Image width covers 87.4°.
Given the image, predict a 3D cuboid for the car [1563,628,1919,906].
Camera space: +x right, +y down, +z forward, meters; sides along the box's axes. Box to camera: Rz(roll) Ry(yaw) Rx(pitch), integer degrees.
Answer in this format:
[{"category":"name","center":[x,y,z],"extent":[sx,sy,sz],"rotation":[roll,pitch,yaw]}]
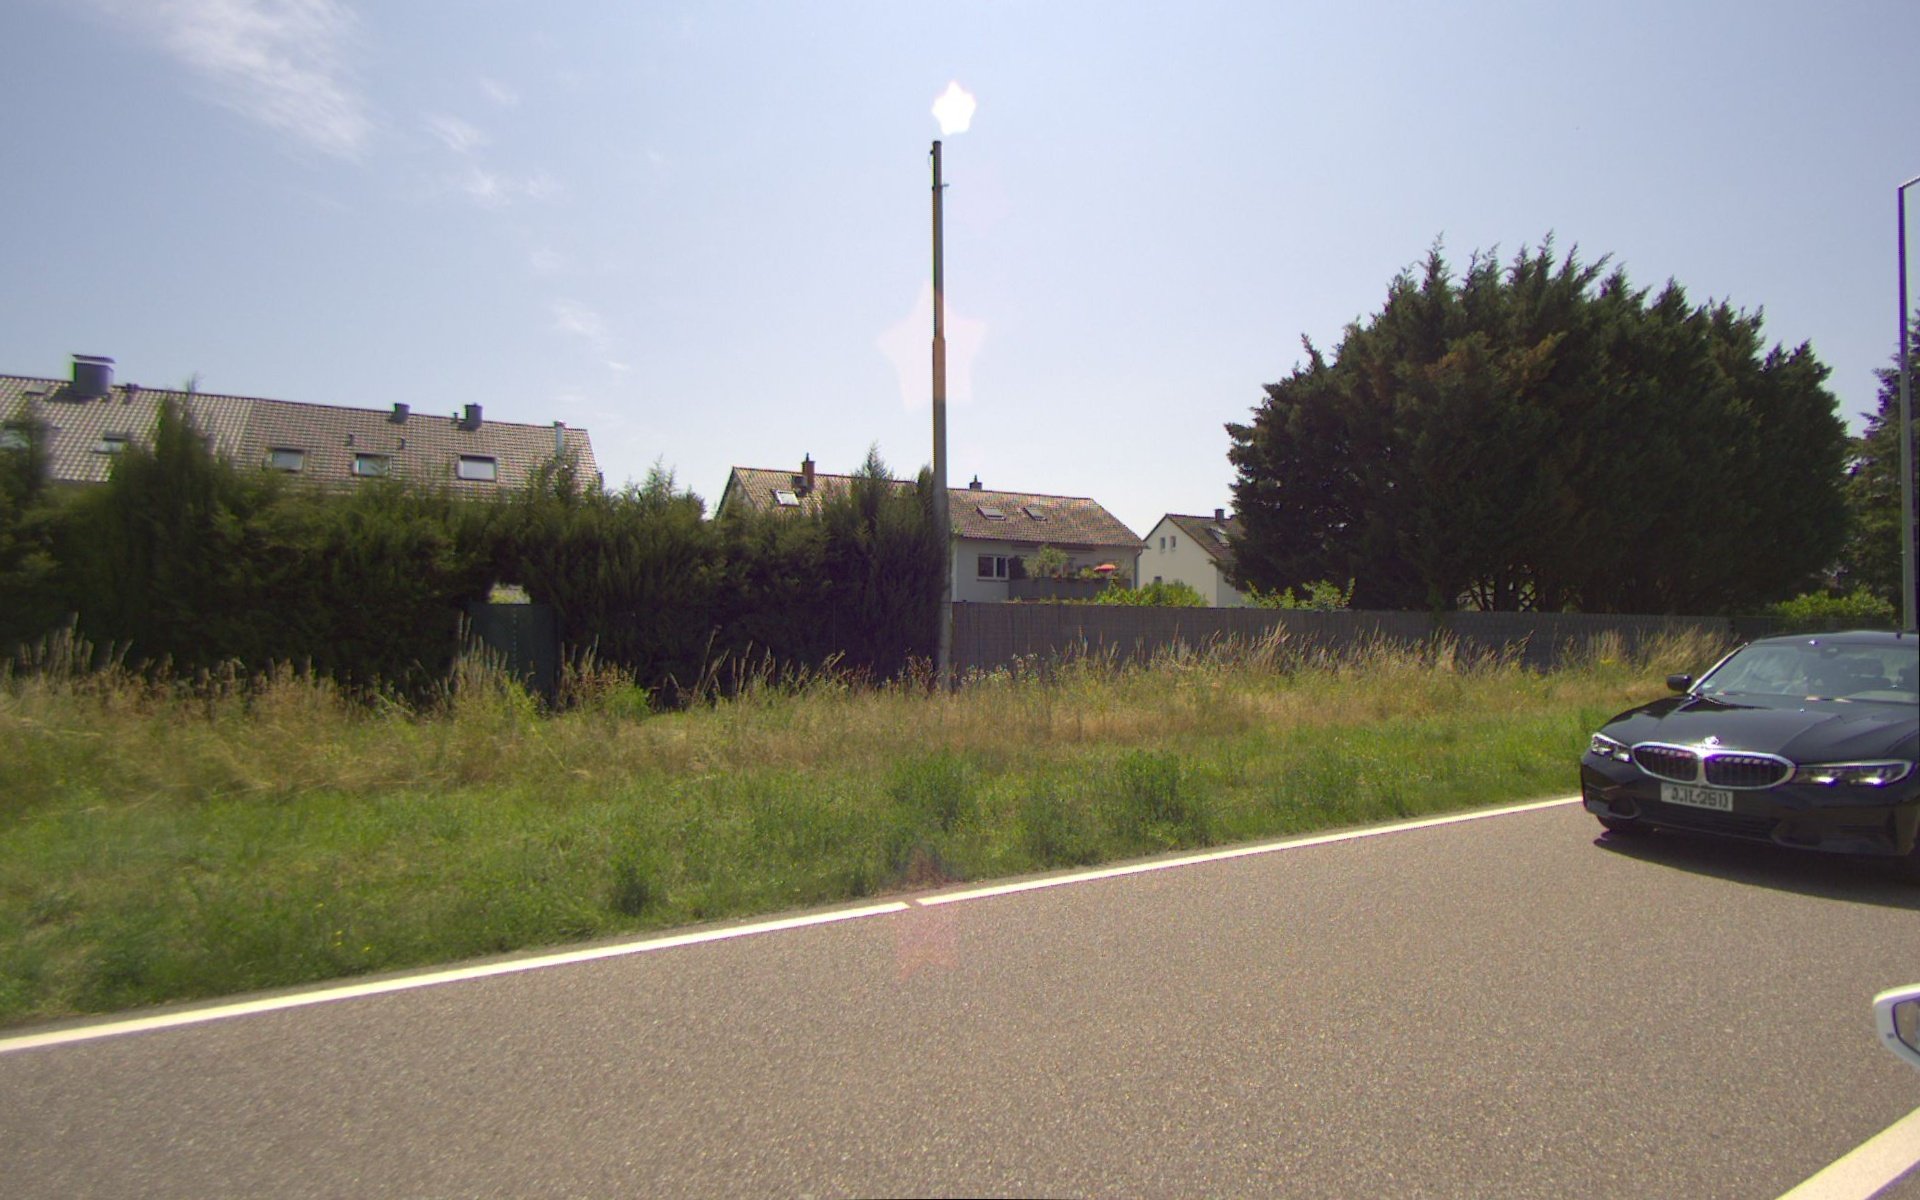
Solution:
[{"category":"car","center":[6.485,0.944,7.172],"extent":[4.651,1.423,1.698],"rotation":[1,-1,-30]}]
